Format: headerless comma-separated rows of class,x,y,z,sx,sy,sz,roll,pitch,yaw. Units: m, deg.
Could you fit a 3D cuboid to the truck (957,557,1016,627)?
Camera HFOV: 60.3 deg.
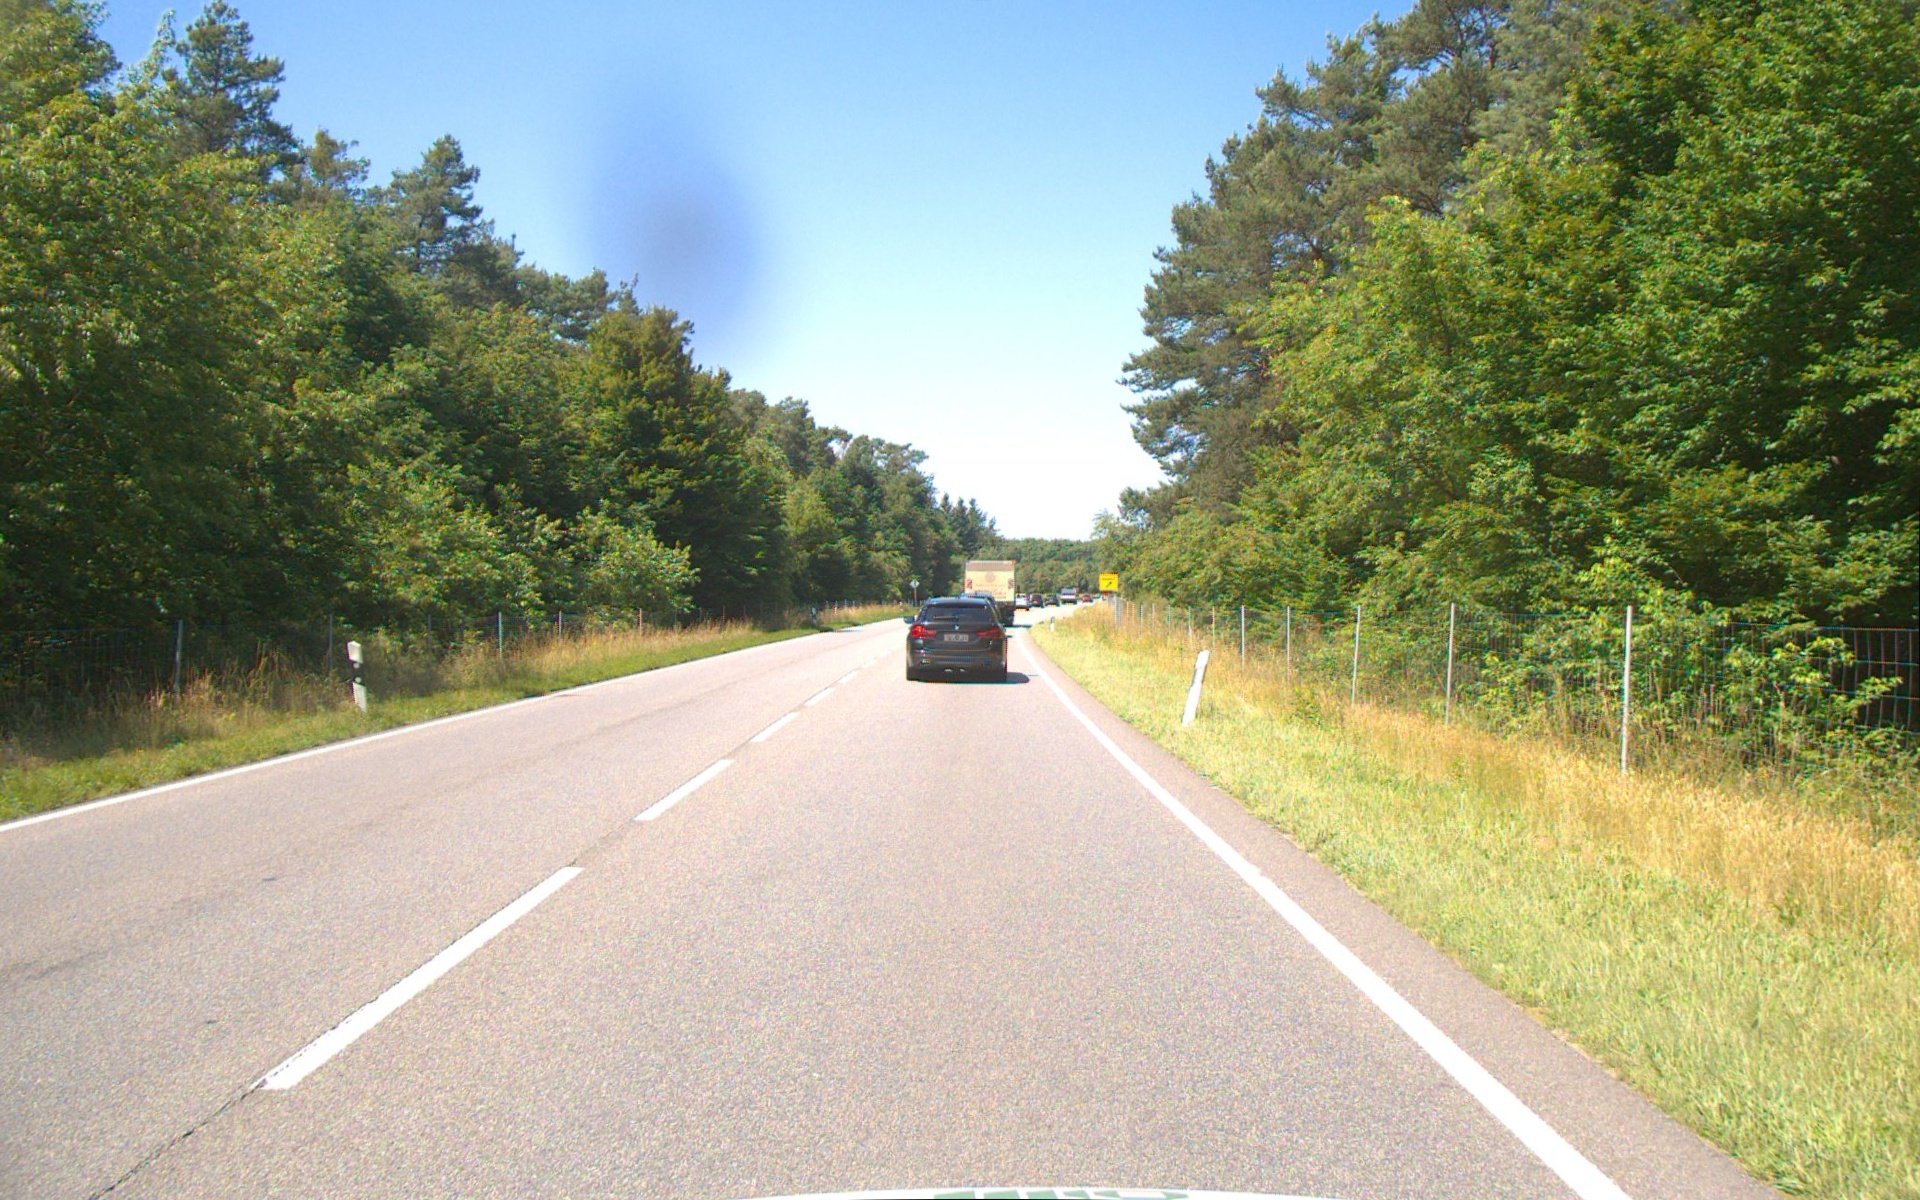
truck,1.380,-0.404,84.844,2.904,3.447,6.439,0,0,2

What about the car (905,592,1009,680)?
car,-0.096,0.618,30.527,1.783,1.496,3.999,0,0,-1

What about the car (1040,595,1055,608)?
car,11.476,0.236,217.611,1.952,1.665,4.002,-1,0,3

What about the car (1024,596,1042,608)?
car,8.565,0.222,194.306,1.951,1.445,4.002,1,0,4

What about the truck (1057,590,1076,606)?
truck,15.815,-0.322,245.683,2.511,2.241,4.974,1,0,1

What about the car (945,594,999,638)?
car,0.420,0.562,62.463,1.908,1.568,3.999,-1,0,-1

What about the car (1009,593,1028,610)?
car,5.725,0.168,161.989,1.824,1.633,4.000,1,0,1
